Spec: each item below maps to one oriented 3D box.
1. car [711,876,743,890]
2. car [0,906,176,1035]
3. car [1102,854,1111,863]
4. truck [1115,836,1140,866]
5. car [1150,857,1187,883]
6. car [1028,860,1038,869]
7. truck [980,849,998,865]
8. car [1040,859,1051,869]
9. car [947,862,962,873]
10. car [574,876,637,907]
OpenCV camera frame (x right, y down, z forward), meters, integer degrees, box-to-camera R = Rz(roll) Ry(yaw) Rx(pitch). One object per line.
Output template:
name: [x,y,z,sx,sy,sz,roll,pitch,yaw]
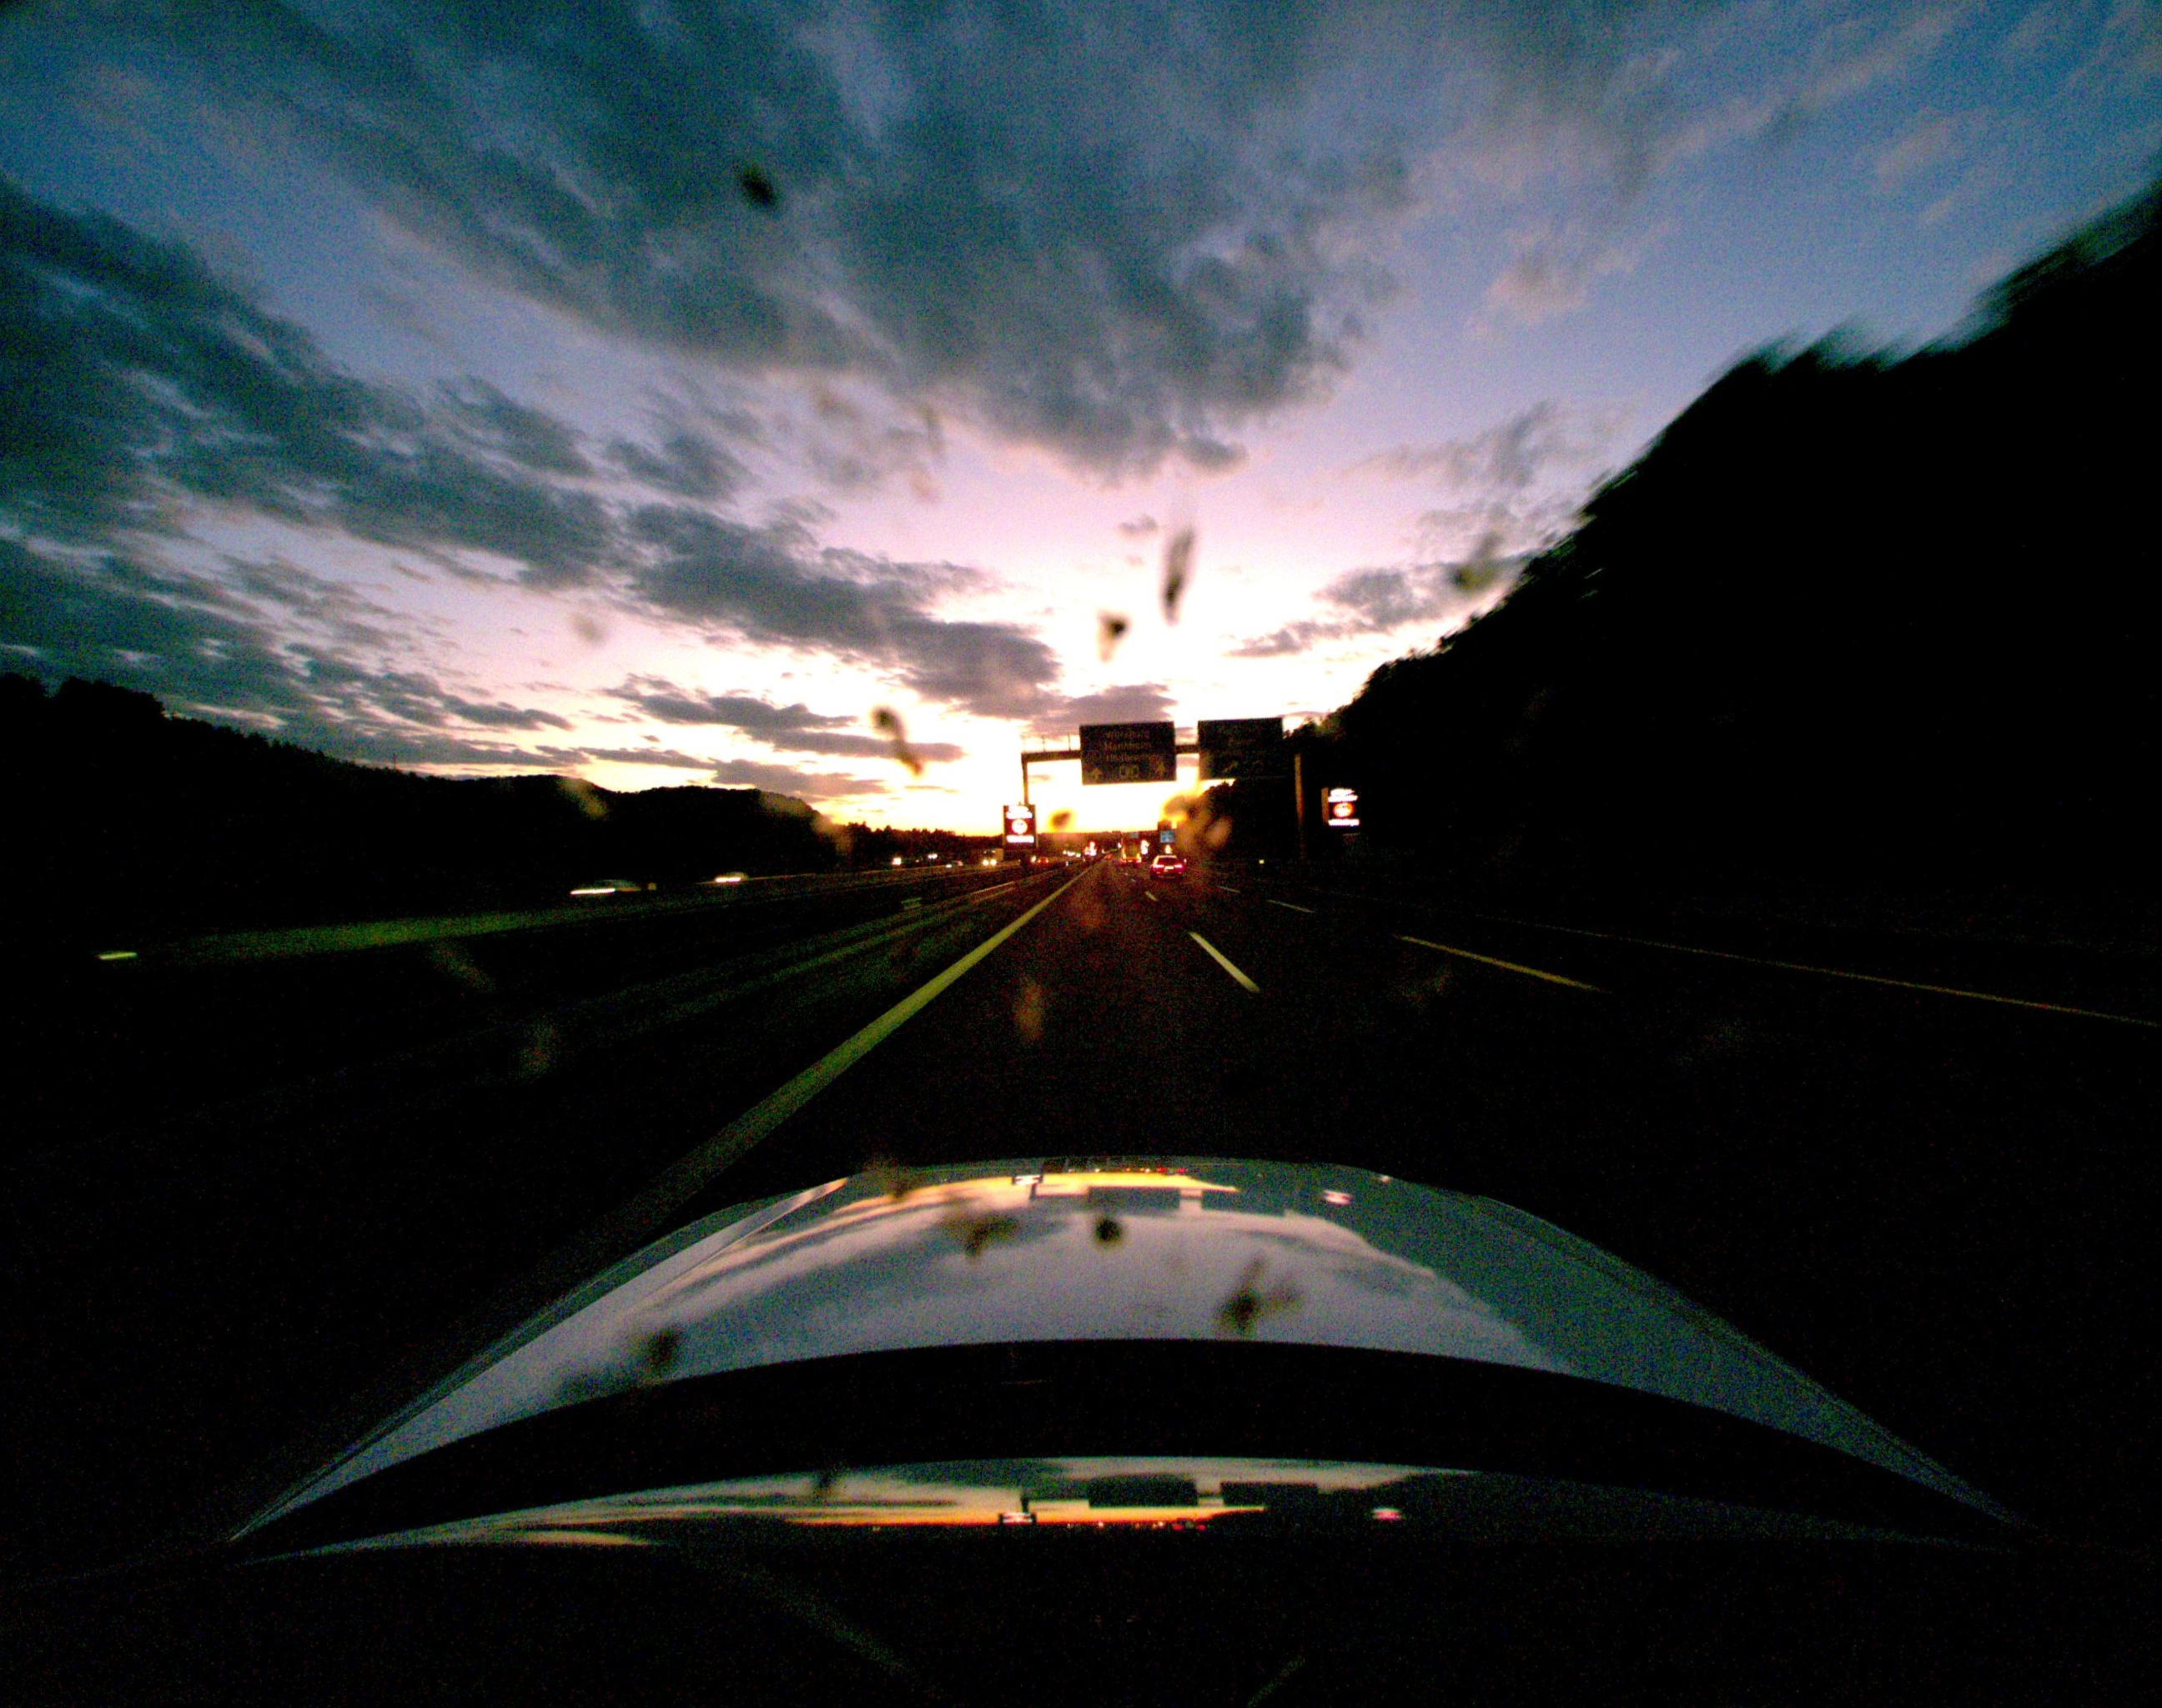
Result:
car: [-38.861,3.200,89.390,1.762,1.319,3.892,-3,-1,0]
car: [-15.022,1.616,10.350,1.865,1.561,4.521,-3,-1,2]
car: [6.119,0.987,193.648,1.986,2.013,4.001,-3,-1,2]
truck: [7.156,-0.357,126.609,3.497,4.301,9.894,-3,-1,1]
car: [5.237,0.957,49.252,1.908,1.442,4.001,-3,-1,2]
car: [-9.255,2.004,157.651,1.632,1.546,3.396,-3,-1,2]
truck: [-22.228,0.753,197.274,3.298,3.619,5.498,-3,-1,1]
car: [-6.356,1.785,145.960,1.706,1.605,3.723,-3,-1,2]
car: [-20.779,2.135,133.546,1.676,1.706,3.753,-1,0,2]
car: [-35.271,2.764,60.618,1.989,2.013,4.728,-3,-1,-3]
